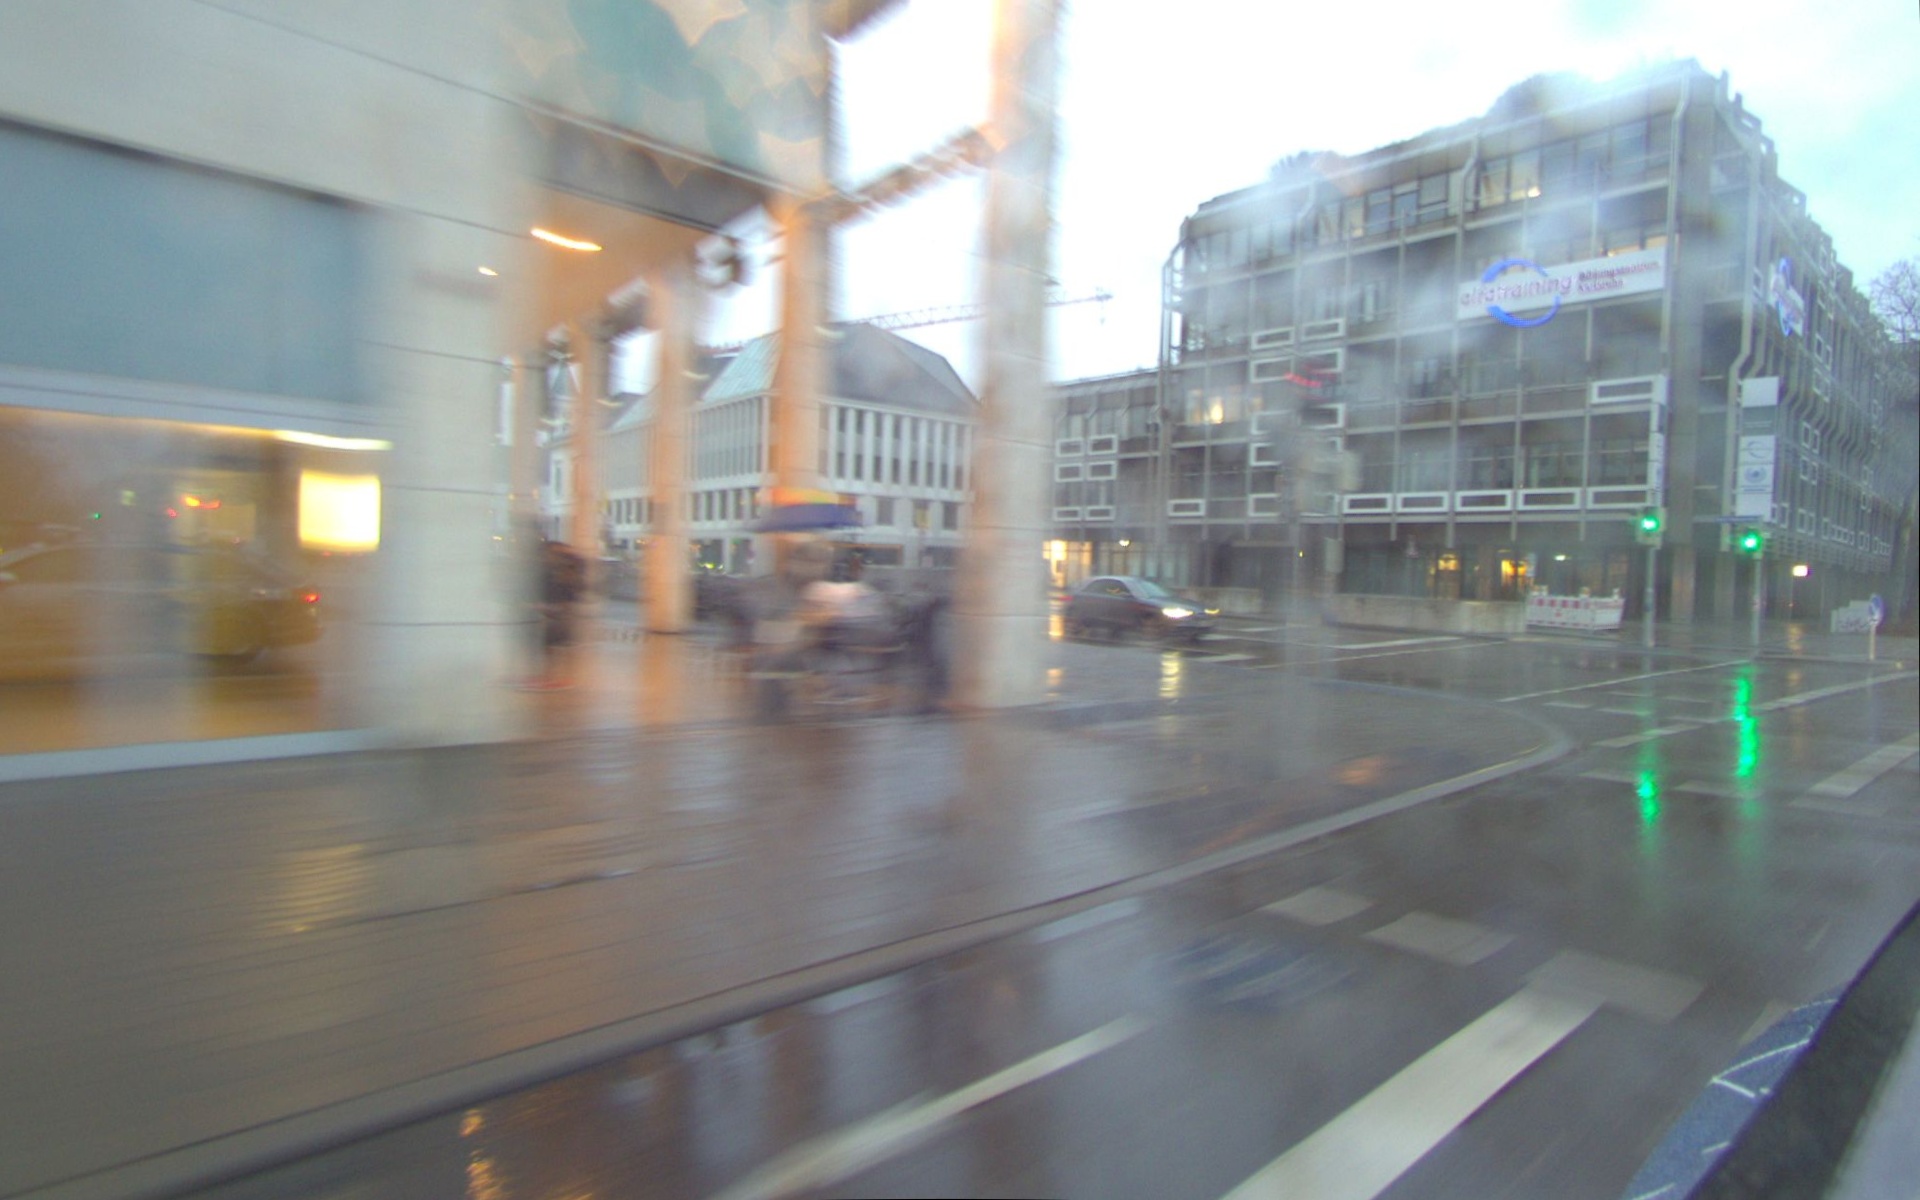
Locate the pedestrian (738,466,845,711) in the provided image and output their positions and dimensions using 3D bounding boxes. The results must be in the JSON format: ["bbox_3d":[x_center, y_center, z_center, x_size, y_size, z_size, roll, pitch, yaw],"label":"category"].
[{"bbox_3d":[-1.639,-0.120,9.766,0.697,2.219,0.963,0,1,-30],"label":"pedestrian"}]

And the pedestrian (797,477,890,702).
[{"bbox_3d":[-1.208,-0.117,10.376,0.569,2.188,0.968,0,1,-30],"label":"pedestrian"}]

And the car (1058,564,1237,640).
[{"bbox_3d":[4.290,-0.031,23.574,1.825,1.509,3.825,-2,4,-39],"label":"car"}]

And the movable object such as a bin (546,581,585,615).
[{"bbox_3d":[-8.544,-0.058,21.940,0.644,0.715,0.598,1,0,-8],"label":"movable object such as a bin"}]

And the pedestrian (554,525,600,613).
[{"bbox_3d":[-8.617,-0.683,22.781,0.824,1.932,0.628,1,0,-9],"label":"pedestrian"}]

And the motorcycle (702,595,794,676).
[{"bbox_3d":[-2.657,0.413,12.576,0.387,0.901,1.635,1,1,-40],"label":"motorcycle"}]

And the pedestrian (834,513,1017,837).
[{"bbox_3d":[-0.196,0.379,5.874,0.704,1.715,0.714,4,3,37],"label":"pedestrian"}]

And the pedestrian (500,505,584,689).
[{"bbox_3d":[-4.324,-0.035,10.465,0.613,1.828,0.615,1,0,-41],"label":"pedestrian"}]

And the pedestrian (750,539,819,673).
[{"bbox_3d":[-2.208,0.064,12.689,0.492,1.628,0.778,1,0,-41],"label":"pedestrian"}]
